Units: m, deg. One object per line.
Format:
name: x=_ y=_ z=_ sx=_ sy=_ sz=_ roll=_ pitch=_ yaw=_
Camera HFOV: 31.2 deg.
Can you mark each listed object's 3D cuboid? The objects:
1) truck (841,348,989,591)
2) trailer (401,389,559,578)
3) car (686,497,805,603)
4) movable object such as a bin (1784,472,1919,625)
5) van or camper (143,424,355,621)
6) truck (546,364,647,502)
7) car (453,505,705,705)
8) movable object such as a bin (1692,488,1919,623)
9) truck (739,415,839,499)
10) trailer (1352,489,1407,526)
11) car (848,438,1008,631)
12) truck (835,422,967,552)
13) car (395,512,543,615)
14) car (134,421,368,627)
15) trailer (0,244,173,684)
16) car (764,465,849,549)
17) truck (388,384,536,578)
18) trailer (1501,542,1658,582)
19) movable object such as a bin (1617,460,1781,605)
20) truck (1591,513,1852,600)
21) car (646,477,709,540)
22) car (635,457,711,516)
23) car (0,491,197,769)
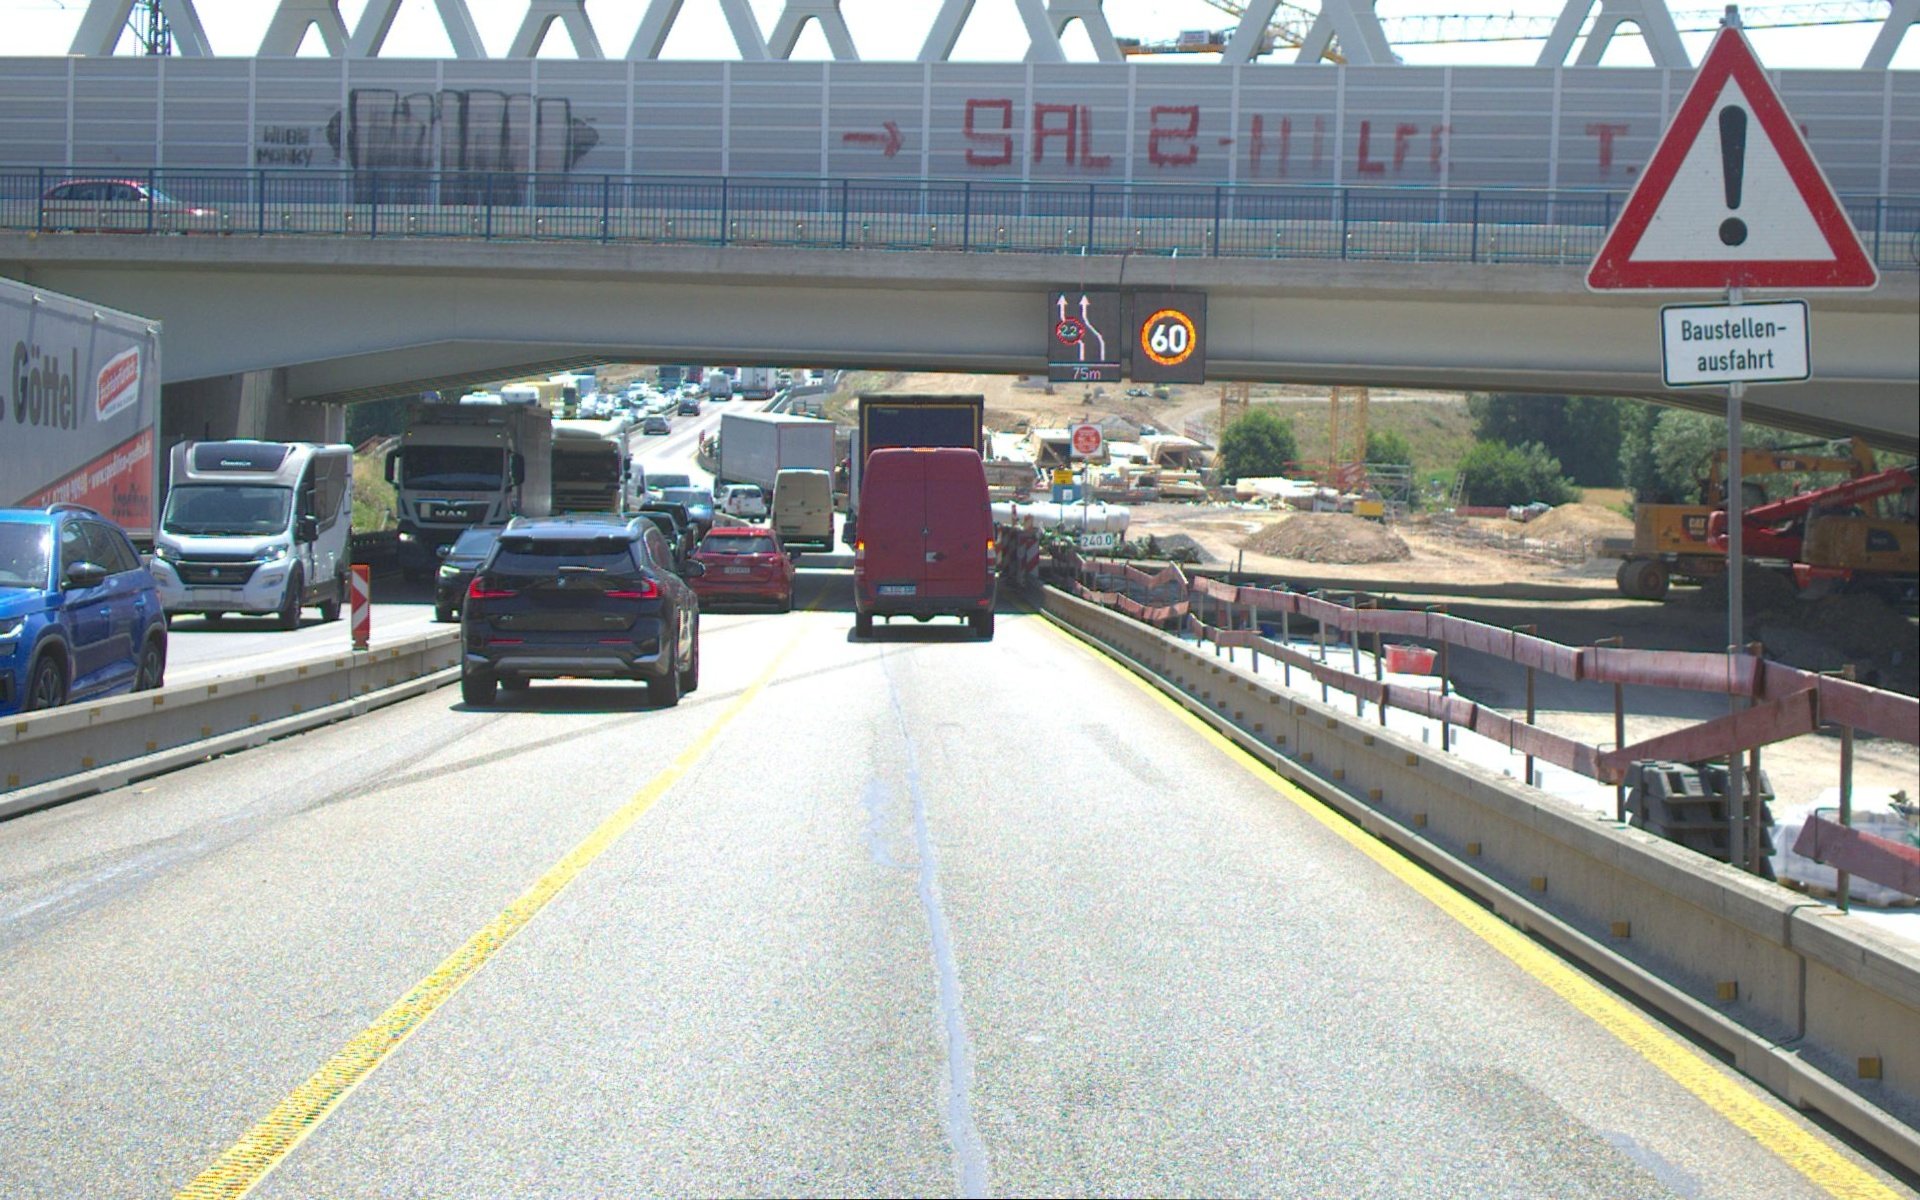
truck: x=-1.011 y=-2.913 z=73.791 sx=2.944 sy=4.927 sz=6.743 roll=1 pitch=4 yaw=-2
trailer: x=-11.147 y=-2.644 z=80.510 sx=2.812 sy=4.159 sz=8.244 roll=1 pitch=1 yaw=-2
car: x=-3.729 y=-0.889 z=60.282 sx=1.833 sy=1.771 sz=4.390 roll=1 pitch=1 yaw=-1
movable object such as a bin: x=21.132 y=-1.099 z=77.169 sx=4.554 sy=3.275 sz=2.990 roll=2 pitch=1 yaw=3
van or camper: x=-10.414 y=-1.142 z=50.807 sx=2.123 sy=2.695 sz=6.456 roll=1 pitch=1 yaw=-3
truck: x=-11.514 y=-5.256 z=109.193 sx=2.659 sy=4.156 sz=5.187 roll=1 pitch=1 yaw=0
car: x=-3.319 y=-0.005 z=30.667 sx=1.833 sy=1.630 sz=4.390 roll=1 pitch=1 yaw=-1
movable object such as a bin: x=20.891 y=-1.082 z=84.434 sx=5.240 sy=3.046 sz=2.496 roll=2 pitch=1 yaw=3
truck: x=-7.524 y=-6.193 z=149.992 sx=3.218 sy=3.349 sz=8.943 roll=1 pitch=1 yaw=-10
trailer: x=18.118 y=-4.024 z=148.648 sx=1.623 sy=1.481 sz=3.827 roll=1 pitch=2 yaw=-4
car: x=-0.461 y=-0.924 z=49.678 sx=2.150 sy=2.602 sz=5.439 roll=1 pitch=1 yaw=-1
truck: x=-2.000 y=-3.778 z=113.224 sx=3.181 sy=3.975 sz=6.745 roll=0 pitch=4 yaw=-11
car: x=-7.729 y=-0.616 z=54.463 sx=1.753 sy=1.512 sz=4.187 roll=1 pitch=2 yaw=0
car: x=-10.360 y=-1.084 z=50.776 sx=2.275 sy=2.811 sz=6.559 roll=1 pitch=1 yaw=-2
trailer: x=-9.655 y=-1.202 z=30.887 sx=2.655 sy=3.803 sz=11.822 roll=1 pitch=1 yaw=-1
car: x=-4.891 y=-2.972 z=108.952 sx=2.264 sy=2.346 sz=5.162 roll=1 pitch=4 yaw=-7
truck: x=-10.982 y=-2.586 z=76.075 sx=2.798 sy=4.136 sz=4.074 roll=1 pitch=1 yaw=-2
trailer: x=20.264 y=-1.248 z=112.554 sx=4.713 sy=1.215 sz=2.056 roll=1 pitch=1 yaw=-1
movable object such as a bin: x=18.987 y=-1.719 z=88.498 sx=3.883 sy=3.530 sz=2.902 roll=3 pitch=1 yaw=10
truck: x=20.726 y=-1.212 z=93.812 sx=6.522 sy=2.066 sz=2.665 roll=2 pitch=2 yaw=3
car: x=-9.040 y=-2.943 z=110.248 sx=1.799 sy=1.926 sz=4.969 roll=1 pitch=2 yaw=-3
car: x=-11.603 y=-4.574 z=138.728 sx=1.980 sy=2.322 sz=6.060 roll=0 pitch=2 yaw=-15
car: x=-6.562 y=0.117 z=22.900 sx=1.834 sy=1.658 sz=4.685 roll=1 pitch=1 yaw=1
